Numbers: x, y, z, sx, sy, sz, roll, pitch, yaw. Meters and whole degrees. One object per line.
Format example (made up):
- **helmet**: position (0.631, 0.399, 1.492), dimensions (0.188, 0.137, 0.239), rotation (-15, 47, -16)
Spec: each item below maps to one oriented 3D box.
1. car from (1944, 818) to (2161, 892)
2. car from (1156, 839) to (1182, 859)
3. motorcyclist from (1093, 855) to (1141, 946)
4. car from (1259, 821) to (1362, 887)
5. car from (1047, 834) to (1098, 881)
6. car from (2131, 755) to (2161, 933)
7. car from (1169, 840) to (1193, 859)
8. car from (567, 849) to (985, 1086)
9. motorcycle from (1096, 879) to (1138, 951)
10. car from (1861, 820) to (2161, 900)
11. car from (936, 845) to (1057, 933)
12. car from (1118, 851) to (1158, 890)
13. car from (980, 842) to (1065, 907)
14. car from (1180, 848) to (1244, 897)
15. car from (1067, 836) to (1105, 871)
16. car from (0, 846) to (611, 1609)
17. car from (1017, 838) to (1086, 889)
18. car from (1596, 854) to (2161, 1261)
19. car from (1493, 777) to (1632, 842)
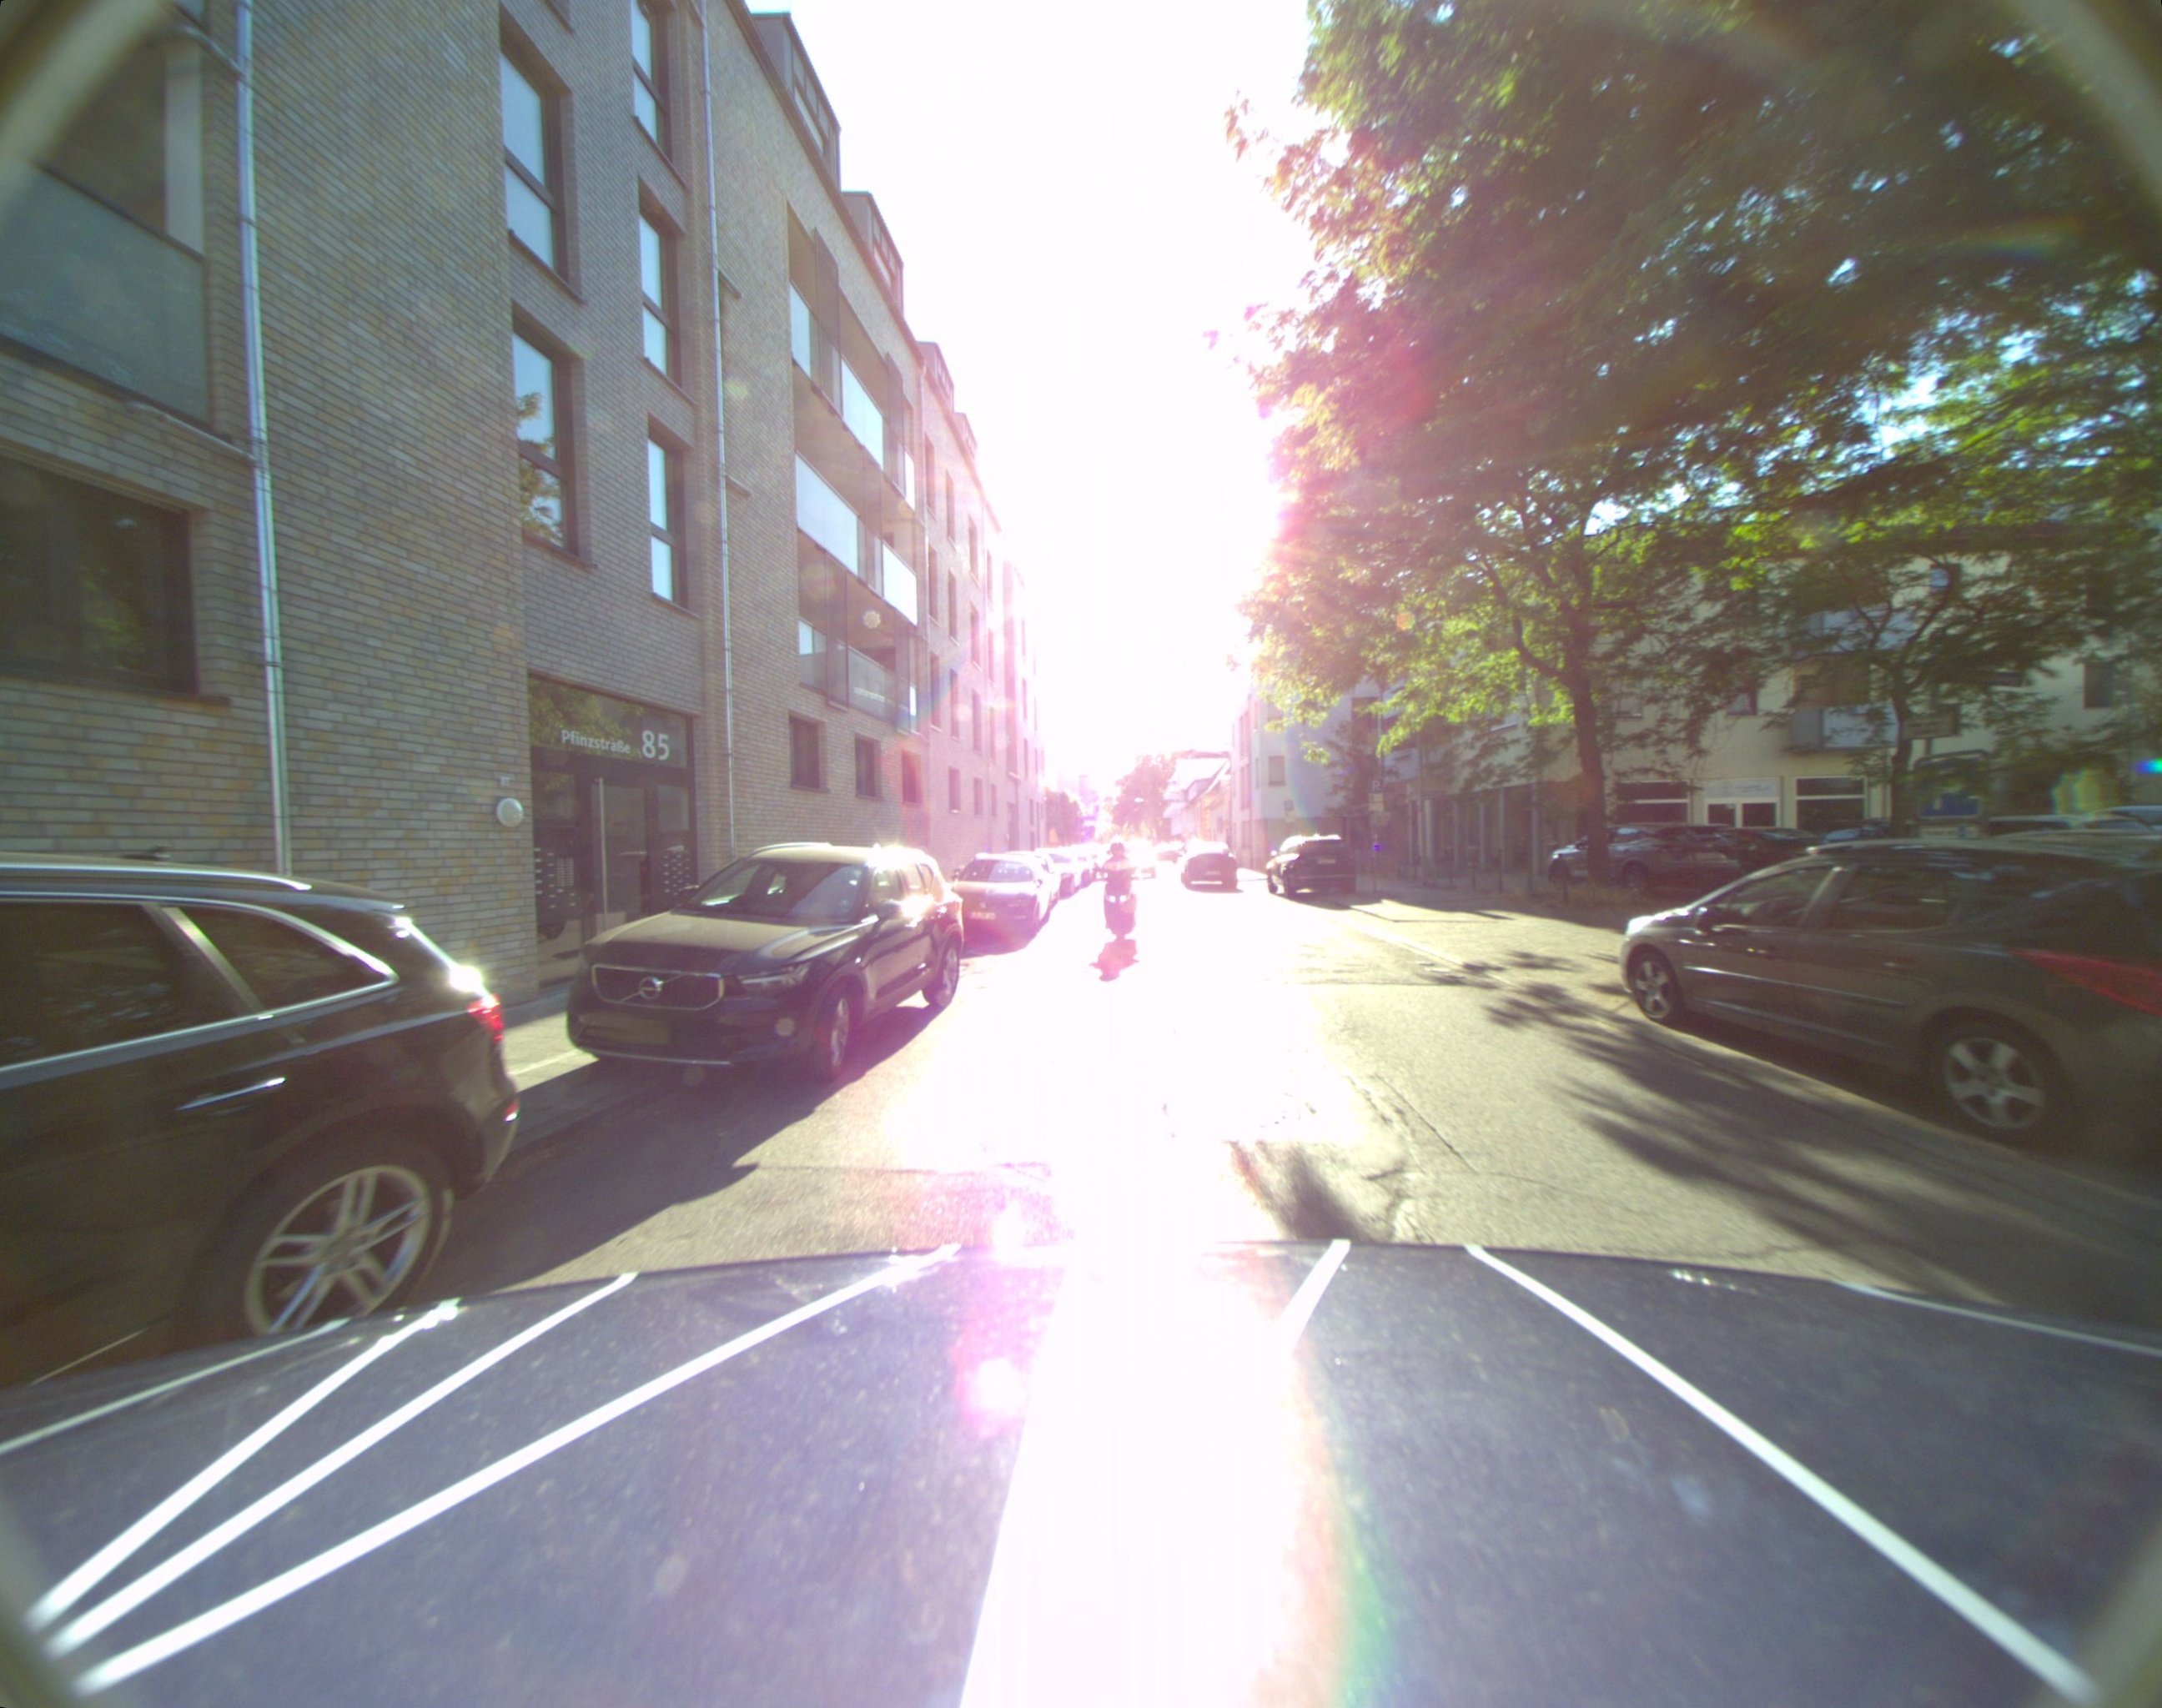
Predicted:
- **car**: position (23.840, -0.022, 17.672), dimensions (1.942, 1.551, 5.188), rotation (-2, 1, 5)
- **car**: position (7.099, -0.430, 61.815), dimensions (1.811, 1.458, 4.000), rotation (-1, 1, 3)
- **motorcyclist**: position (0.606, 0.749, 12.533), dimensions (0.717, 1.425, 0.746), rotation (-1, 2, 5)
- **car**: position (6.923, -0.052, 23.486), dimensions (1.936, 1.695, 5.101), rotation (-4, 1, 5)
- **car**: position (-0.263, 0.076, 31.172), dimensions (1.671, 1.724, 4.839), rotation (-1, 1, 4)
- **car**: position (12.237, -0.108, 5.776), dimensions (1.847, 1.884, 4.906), rotation (-2, 1, 3)
- **car**: position (10.208, -0.442, 78.104), dimensions (1.998, 1.619, 4.000), rotation (-8, 1, 4)
- **car**: position (-2.269, 0.739, 7.078), dimensions (1.820, 1.458, 4.270), rotation (-1, 1, 5)
- **motorcycle**: position (0.626, 0.970, 12.676), dimensions (0.598, 1.004, 1.822), rotation (-1, 1, 5)
- **car**: position (21.388, 0.060, 17.490), dimensions (1.998, 1.467, 4.832), rotation (-4, 1, 2)
- **car**: position (-1.521, 0.572, 15.416), dimensions (1.700, 1.459, 4.720), rotation (0, 1, 3)
- **car**: position (2.711, 0.721, 35.929), dimensions (1.707, 1.570, 3.916), rotation (-3, 1, 4)
- **car**: position (-1.434, 0.455, 20.065), dimensions (1.667, 1.507, 4.219), rotation (0, 1, 3)
- **car**: position (4.777, 0.626, 28.253), dimensions (1.943, 1.567, 4.319), rotation (-1, 1, 4)
- **car**: position (0.287, -0.055, 36.393), dimensions (1.654, 1.583, 4.342), rotation (0, 1, 2)
- **car**: position (-3.499, 0.871, 1.191), dimensions (1.893, 1.702, 4.777), rotation (-1, 1, 11)
- **car**: position (-0.896, 0.244, 25.897), dimensions (1.729, 1.521, 4.626), rotation (2, 2, 5)
- **car**: position (5.346, 0.822, 4.819), dimensions (1.700, 1.483, 4.000), rotation (-2, 1, 5)
- **car**: position (11.783, -1.040, 18.865), dimensions (1.524, 1.400, 3.640), rotation (-1, 1, 7)
